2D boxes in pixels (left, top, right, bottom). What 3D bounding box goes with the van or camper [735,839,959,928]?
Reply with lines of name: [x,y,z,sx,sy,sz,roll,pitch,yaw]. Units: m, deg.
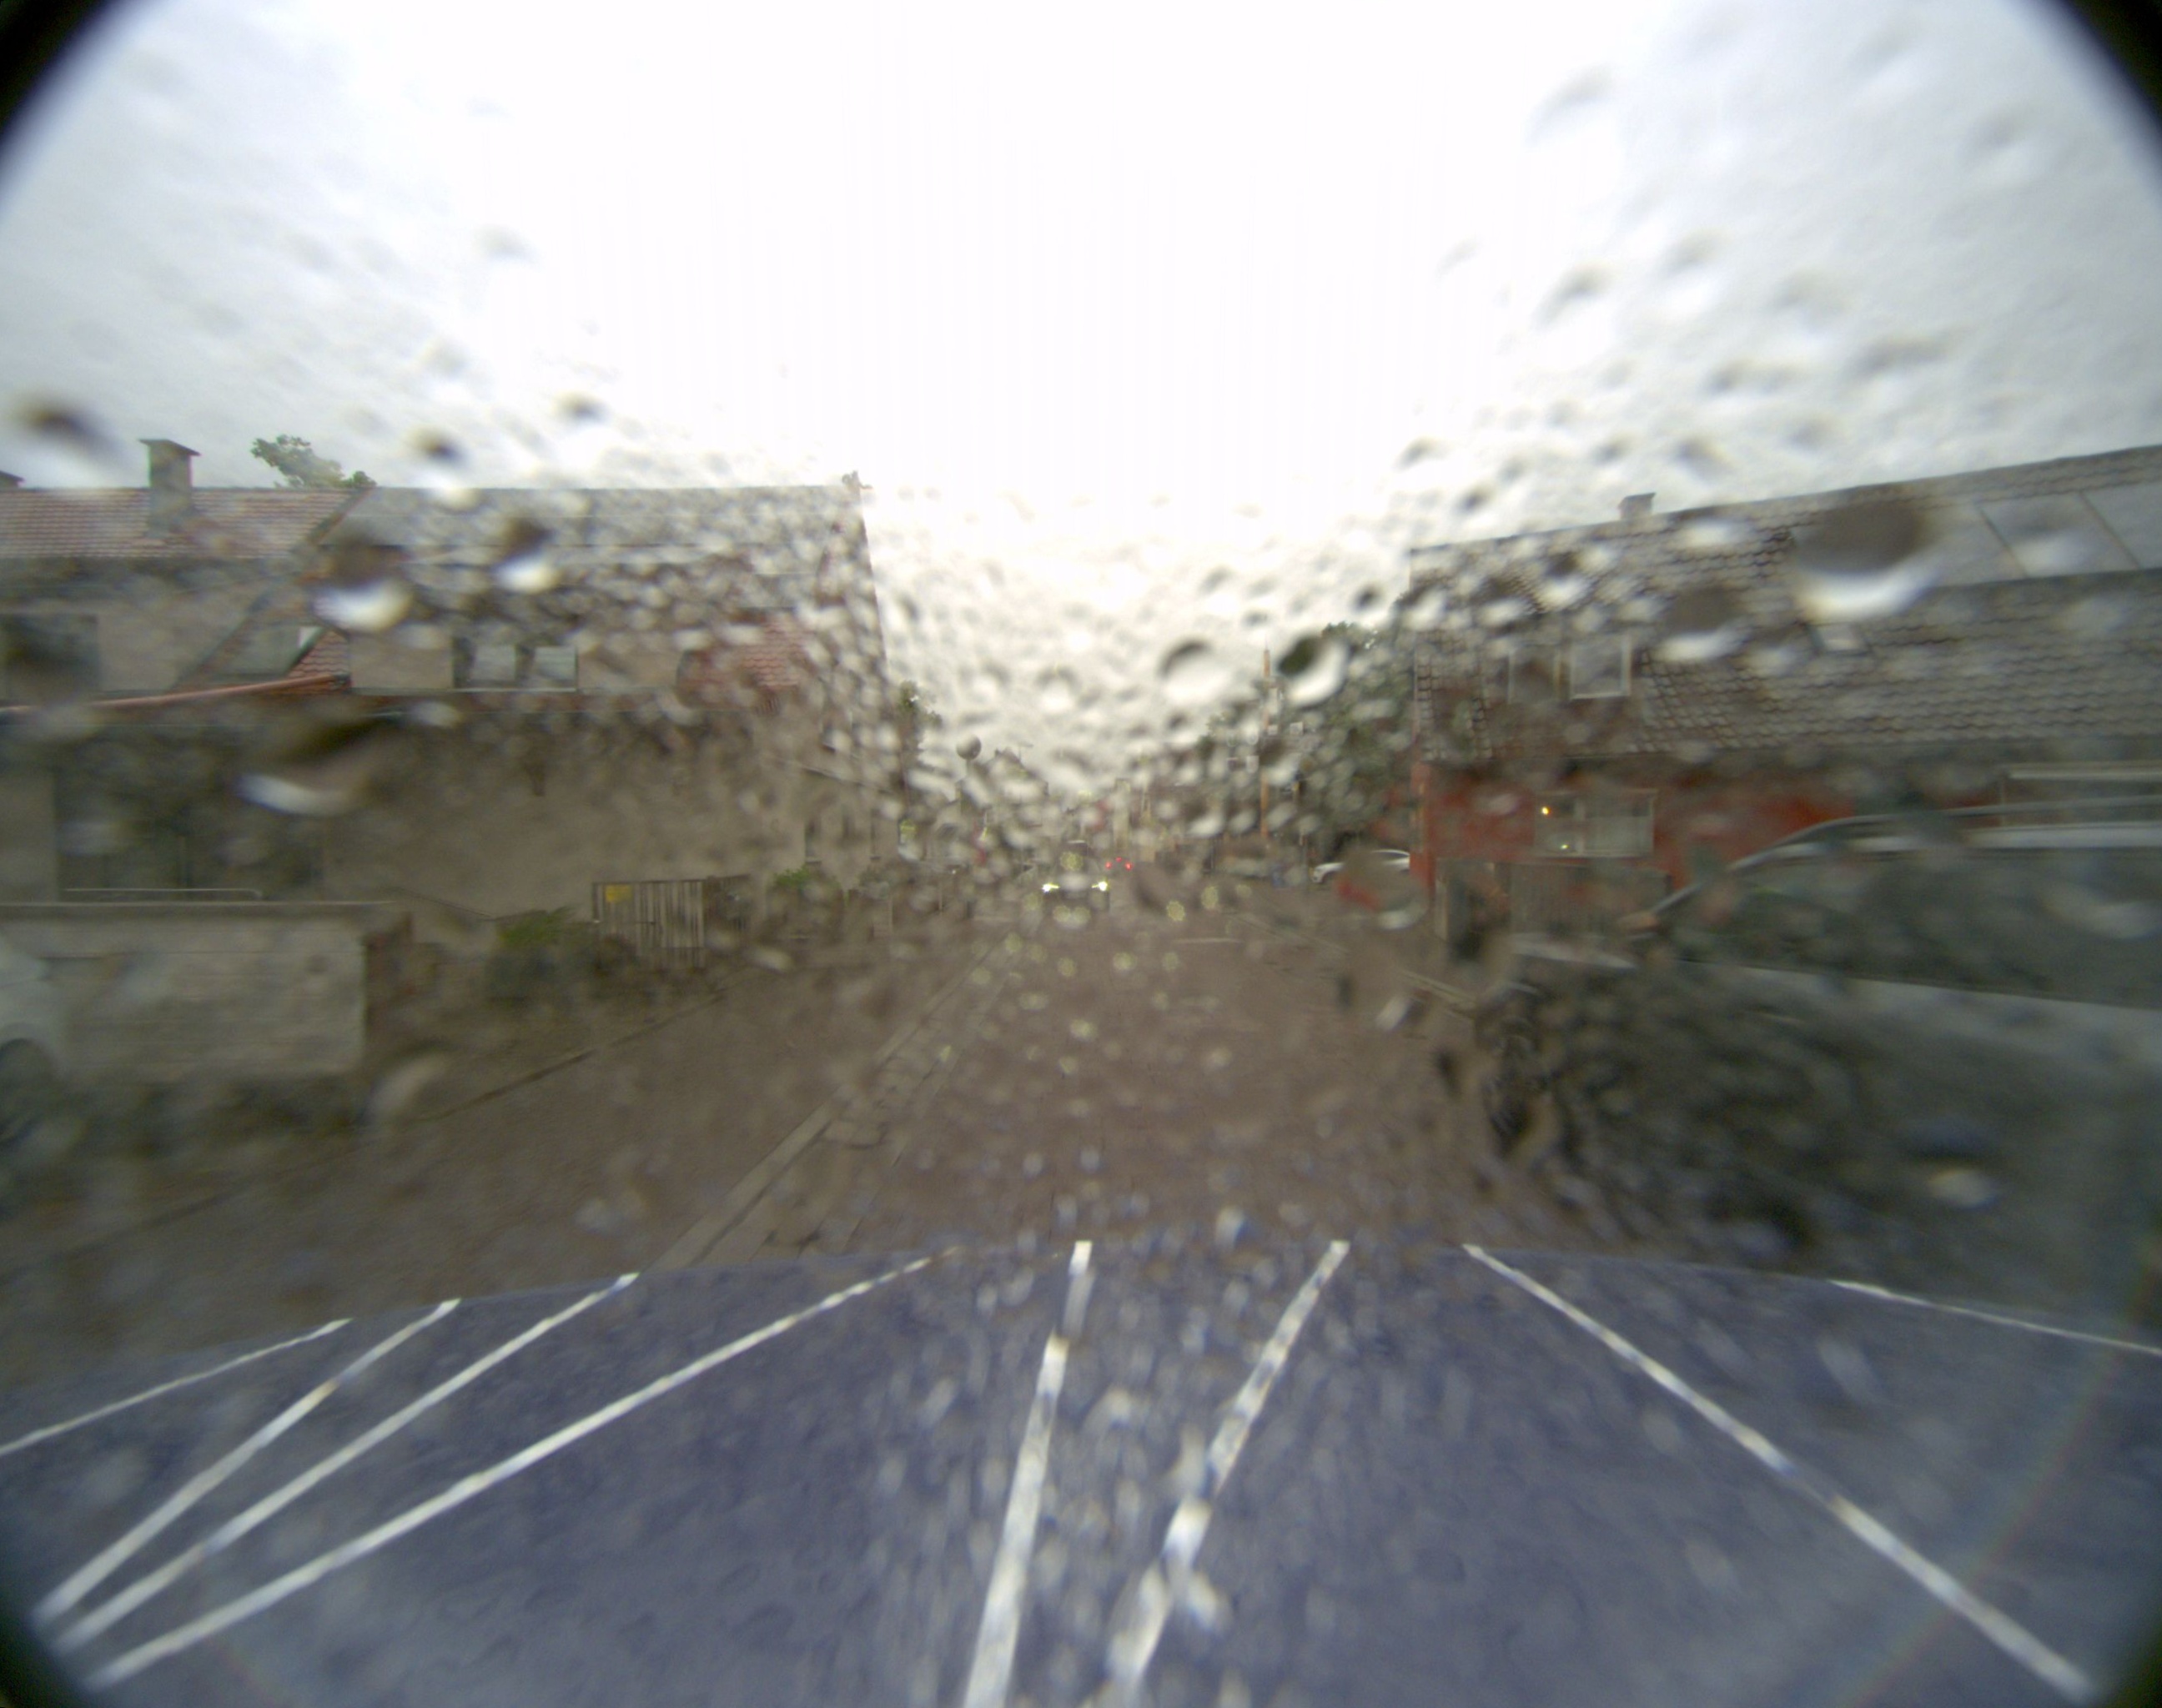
van or camper: [-5.860,0.705,19.529,5.083,1.912,1.875,-3,1,-3]

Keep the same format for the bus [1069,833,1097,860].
bus: [0.187,-1.238,113.664,2.894,3.590,11.969,-1,2,-5]

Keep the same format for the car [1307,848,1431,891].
car: [11.492,0.621,30.466,4.450,1.541,1.885,-2,0,21]

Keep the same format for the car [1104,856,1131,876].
car: [2.828,0.918,59.540,1.848,1.468,4.314,0,0,-1]

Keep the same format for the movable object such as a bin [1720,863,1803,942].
movable object such as a bin: [9.554,0.657,10.692,0.646,1.050,0.621,0,2,17]

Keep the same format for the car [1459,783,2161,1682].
car: [3.014,0.735,2.166,1.817,1.769,4.017,-1,0,-1]

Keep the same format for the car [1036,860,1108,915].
car: [-0.184,0.870,21.096,1.800,1.341,3.738,-1,0,2]

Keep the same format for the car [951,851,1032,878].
car: [-5.109,0.595,43.532,4.233,1.472,1.697,-1,1,16]

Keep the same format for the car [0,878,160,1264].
car: [-4.722,0.882,1.752,1.880,1.580,4.609,-3,-1,-32]
